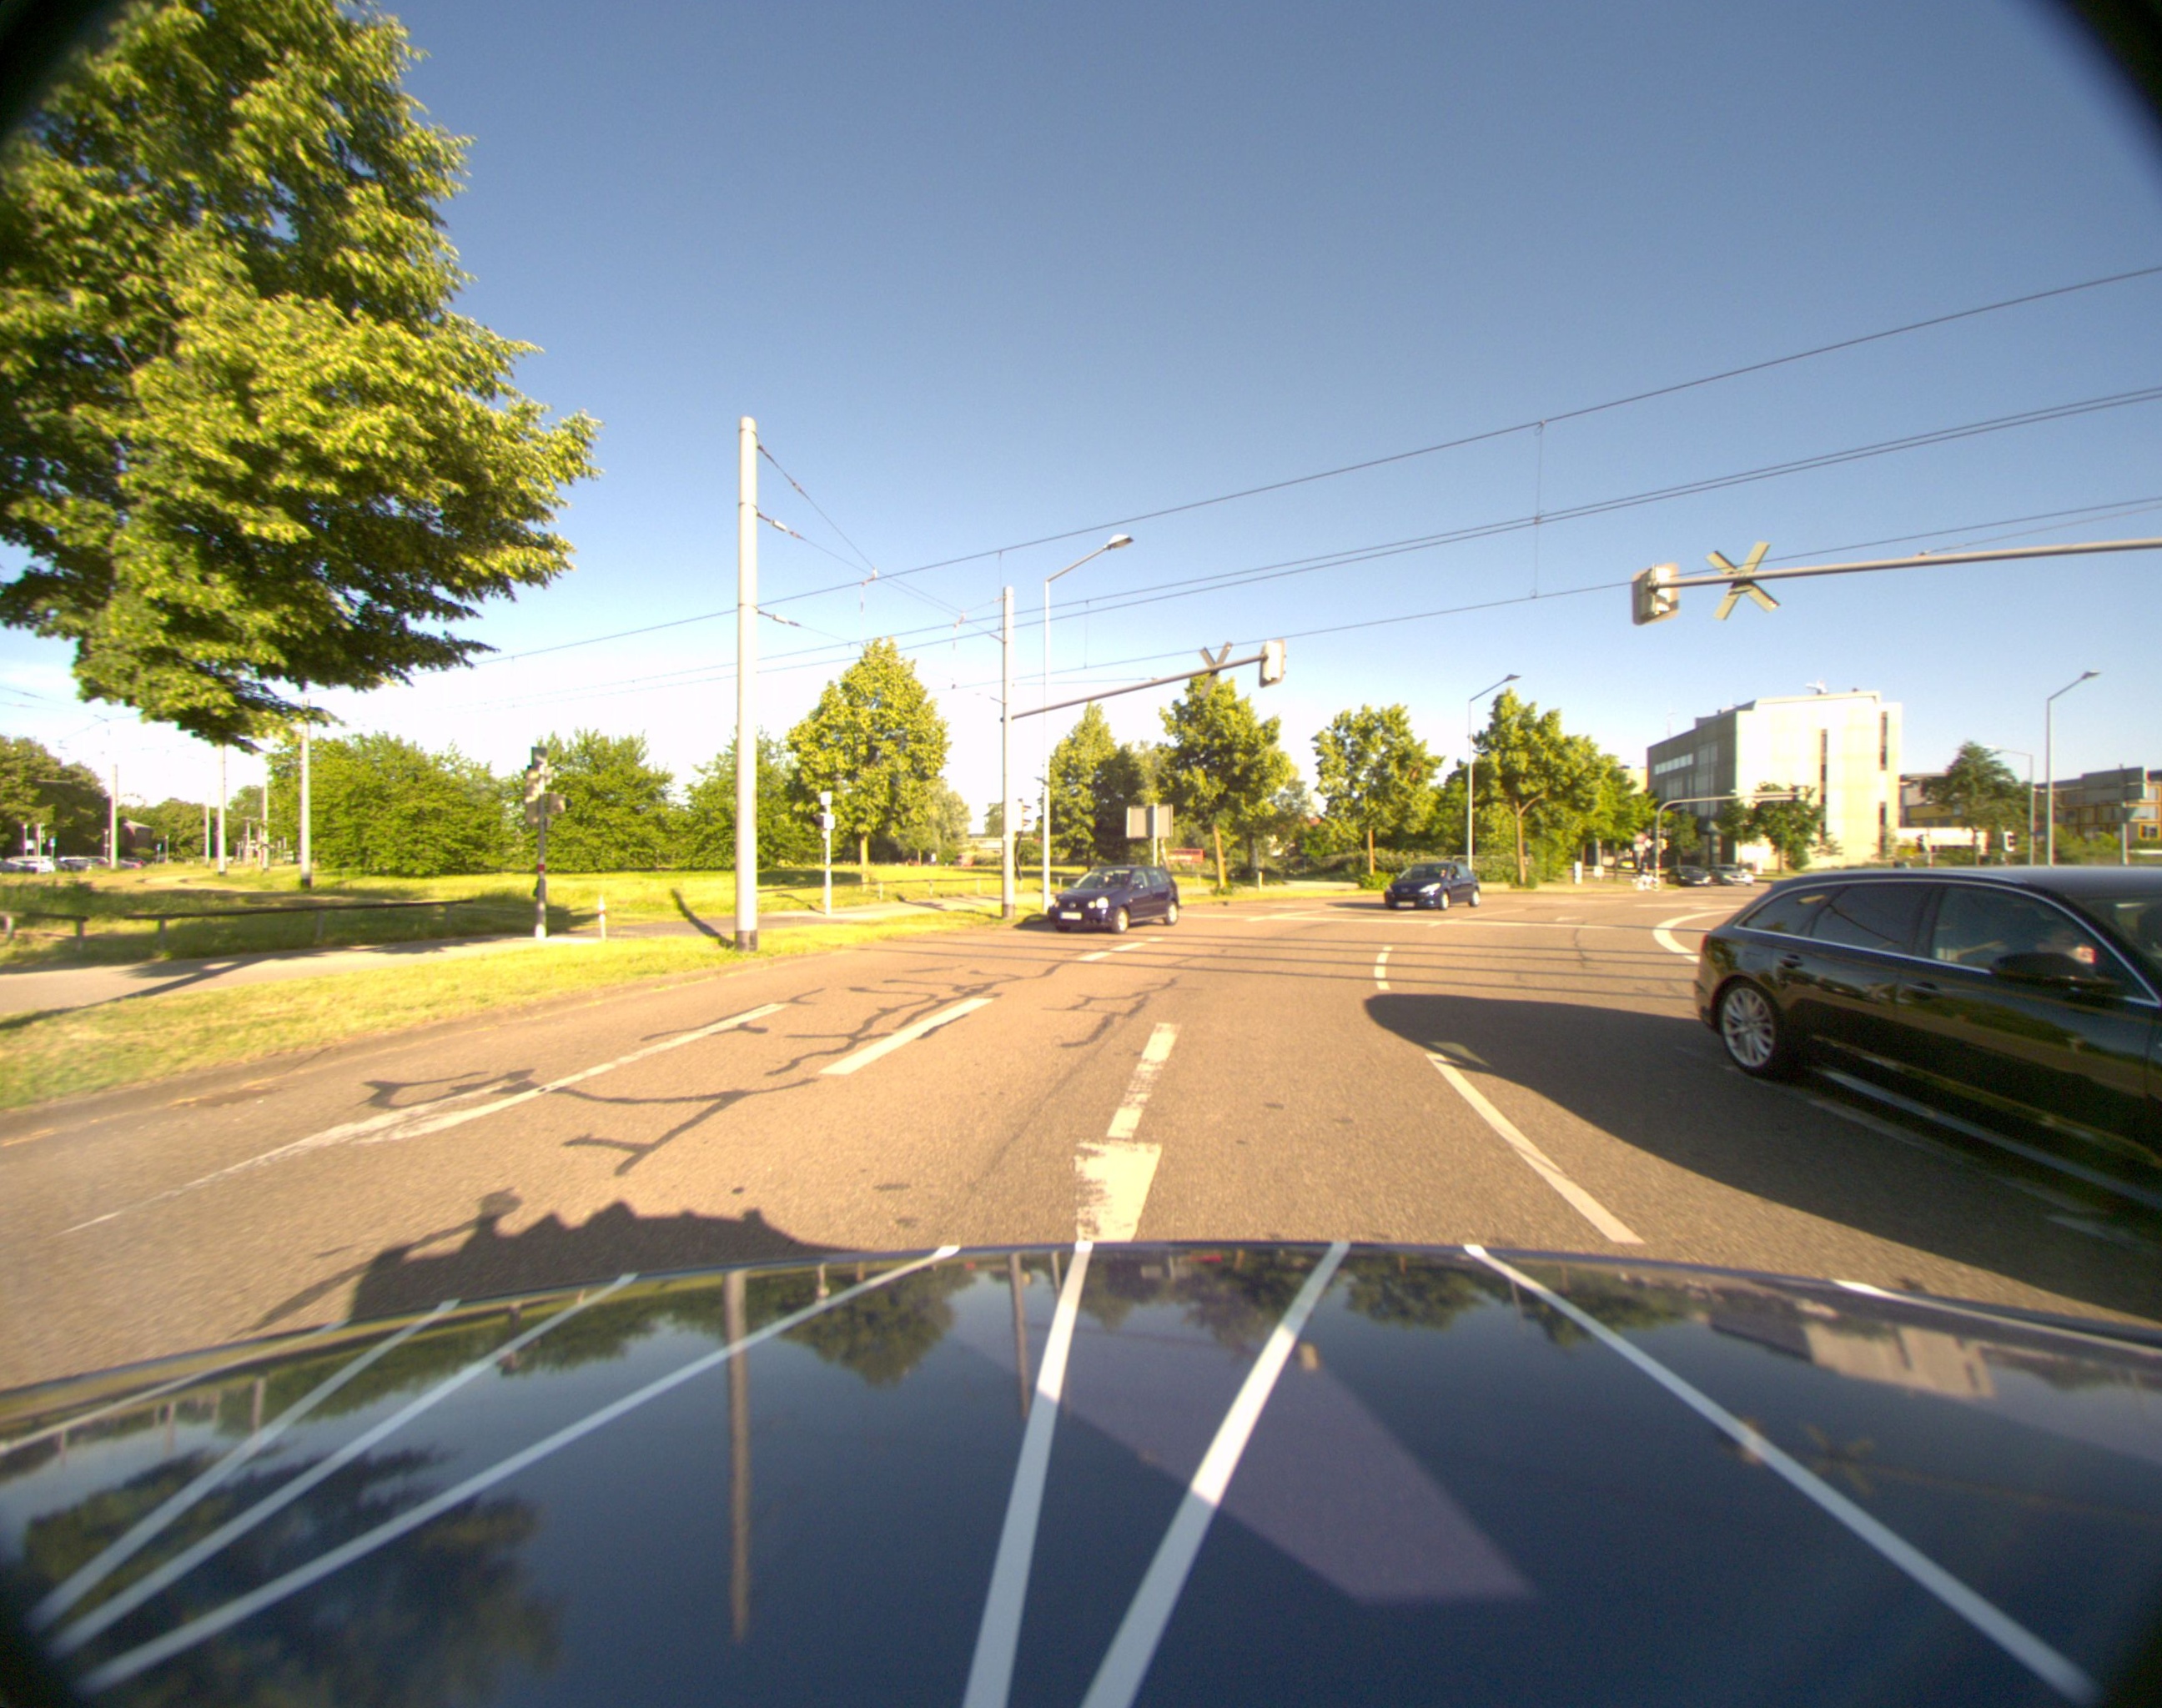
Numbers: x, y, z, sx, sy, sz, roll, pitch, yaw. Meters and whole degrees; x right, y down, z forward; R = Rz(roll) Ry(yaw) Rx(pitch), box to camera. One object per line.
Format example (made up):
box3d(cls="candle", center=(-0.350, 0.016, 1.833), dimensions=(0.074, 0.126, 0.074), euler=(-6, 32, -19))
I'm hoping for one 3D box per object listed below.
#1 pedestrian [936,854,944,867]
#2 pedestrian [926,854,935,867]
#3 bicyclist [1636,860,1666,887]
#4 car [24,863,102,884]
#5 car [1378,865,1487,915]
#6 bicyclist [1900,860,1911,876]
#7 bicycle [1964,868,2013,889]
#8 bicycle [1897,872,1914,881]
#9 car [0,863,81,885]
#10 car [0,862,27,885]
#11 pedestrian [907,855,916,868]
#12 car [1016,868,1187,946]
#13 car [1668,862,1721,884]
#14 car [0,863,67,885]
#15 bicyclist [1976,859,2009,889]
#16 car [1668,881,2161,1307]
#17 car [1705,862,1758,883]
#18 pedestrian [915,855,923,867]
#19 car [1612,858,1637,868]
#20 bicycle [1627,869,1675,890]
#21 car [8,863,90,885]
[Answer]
box3d(cls="pedestrian", center=(-15.813, 0.704, 85.355), dimensions=(0.661, 1.432, 0.795), euler=(0, 0, 5))
box3d(cls="pedestrian", center=(-16.995, 0.742, 85.696), dimensions=(0.773, 1.432, 0.795), euler=(0, 0, 5))
box3d(cls="bicyclist", center=(33.937, 1.177, 45.239), dimensions=(1.087, 1.553, 0.876), euler=(1, 2, -2))
box3d(cls="car", center=(-94.819, 1.835, 70.864), dimensions=(4.007, 1.746, 1.909), euler=(-2, 1, -41))
box3d(cls="car", center=(11.194, 1.092, 24.078), dimensions=(4.009, 1.445, 1.753), euler=(1, -2, -43))
box3d(cls="bicyclist", center=(81.251, 1.409, 74.850), dimensions=(0.432, 1.555, 0.853), euler=(0, 0, 25))
box3d(cls="bicycle", center=(49.947, 1.356, 41.834), dimensions=(1.652, 1.122, 0.705), euler=(-1, 1, 12))
box3d(cls="bicycle", center=(81.292, 2.166, 74.930), dimensions=(0.490, 0.847, 1.892), euler=(0, 0, 25))
box3d(cls="car", center=(-91.849, 1.759, 67.030), dimensions=(4.007, 1.746, 1.909), euler=(-2, 1, -41))
box3d(cls="car", center=(-83.693, 1.546, 57.607), dimensions=(4.007, 1.746, 1.909), euler=(-2, 1, -41))
box3d(cls="pedestrian", center=(-19.171, 0.812, 85.917), dimensions=(0.686, 1.432, 0.795), euler=(0, 0, 5))
box3d(cls="car", center=(0.614, 1.071, 17.064), dimensions=(1.633, 1.459, 4.555), euler=(0, -1, 34))
box3d(cls="car", center=(42.953, 1.293, 53.300), dimensions=(1.721, 1.371, 4.074), euler=(-2, 0, 21))
box3d(cls="car", center=(-89.616, 1.701, 64.435), dimensions=(4.007, 1.746, 1.909), euler=(-2, 1, -41))
box3d(cls="bicyclist", center=(50.142, 1.086, 41.799), dimensions=(0.941, 1.654, 0.705), euler=(-1, 1, 12))
box3d(cls="car", center=(5.003, 0.920, 3.469), dimensions=(1.795, 1.435, 5.023), euler=(0, 0, 14))
box3d(cls="car", center=(46.922, 1.315, 54.868), dimensions=(1.932, 1.371, 4.545), euler=(0, 0, 28))
box3d(cls="pedestrian", center=(-18.186, 0.783, 85.402), dimensions=(0.686, 1.432, 0.795), euler=(0, 0, 5))
box3d(cls="car", center=(84.858, 1.371, 118.722), dimensions=(2.005, 1.532, 4.331), euler=(0, 0, 18))
box3d(cls="bicycle", center=(33.910, 1.505, 45.241), dimensions=(2.215, 1.148, 0.876), euler=(1, 2, -2))
box3d(cls="car", center=(-93.440, 1.801, 68.859), dimensions=(4.007, 1.746, 1.909), euler=(-2, 1, -41))
